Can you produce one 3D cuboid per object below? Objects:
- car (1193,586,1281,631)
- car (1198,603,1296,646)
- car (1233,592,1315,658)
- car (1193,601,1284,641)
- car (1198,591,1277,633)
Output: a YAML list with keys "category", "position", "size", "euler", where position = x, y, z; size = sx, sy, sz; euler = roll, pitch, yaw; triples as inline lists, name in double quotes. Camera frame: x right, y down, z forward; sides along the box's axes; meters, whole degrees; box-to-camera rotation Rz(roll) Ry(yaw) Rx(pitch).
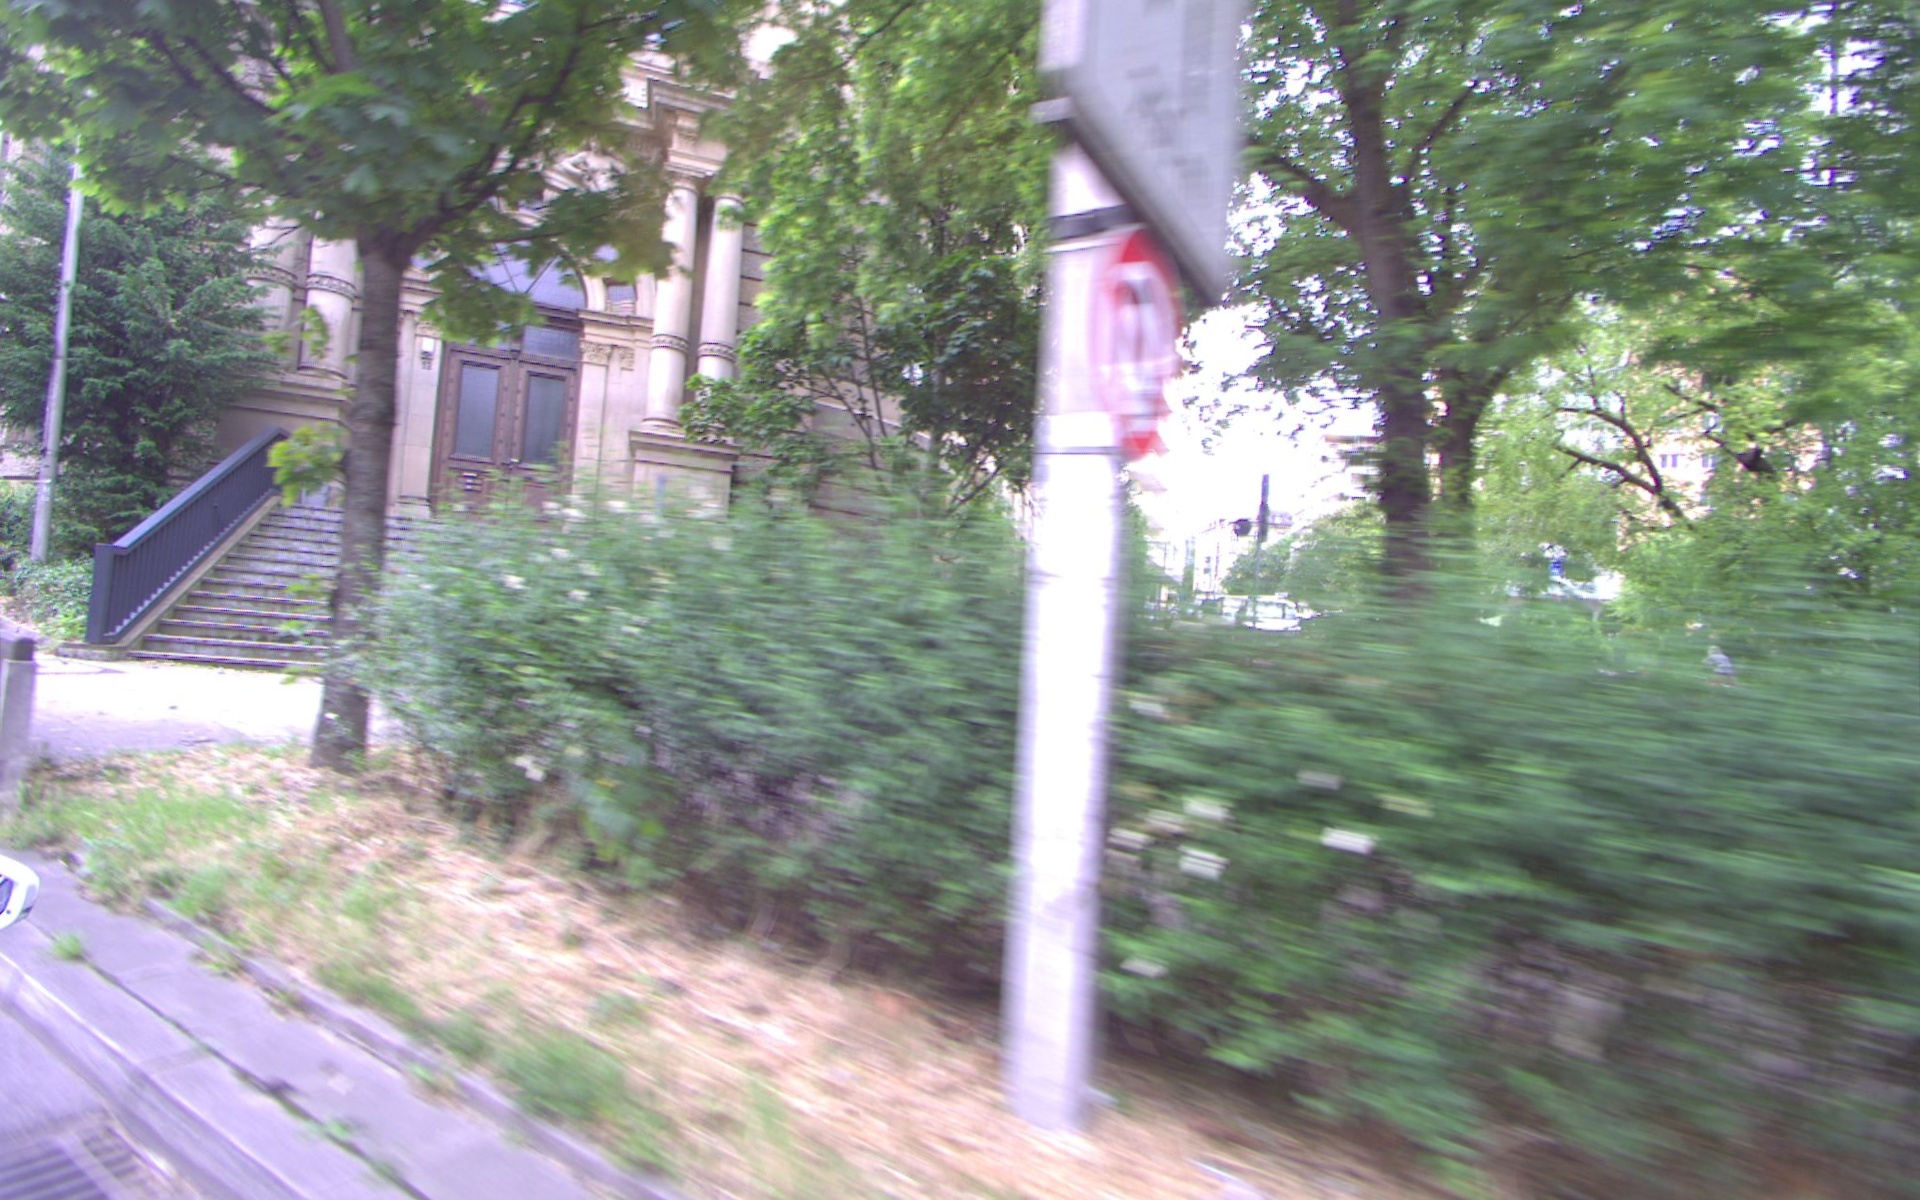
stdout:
- category: "car"
  position: [20.915, 0.668, 76.192]
  size: [6.080, 2.669, 2.001]
  euler: [6, 0, 12]
- category: "car"
  position: [15.527, 1.362, 54.722]
  size: [4.796, 1.755, 2.002]
  euler: [6, -1, 10]
- category: "car"
  position: [10.612, 0.803, 34.364]
  size: [2.136, 1.958, 5.216]
  euler: [4, 0, 12]
- category: "car"
  position: [16.094, 1.208, 58.394]
  size: [4.796, 1.755, 2.002]
  euler: [6, -1, 10]
- category: "car"
  position: [18.734, 0.840, 68.148]
  size: [4.796, 2.245, 2.001]
  euler: [6, 0, 10]
